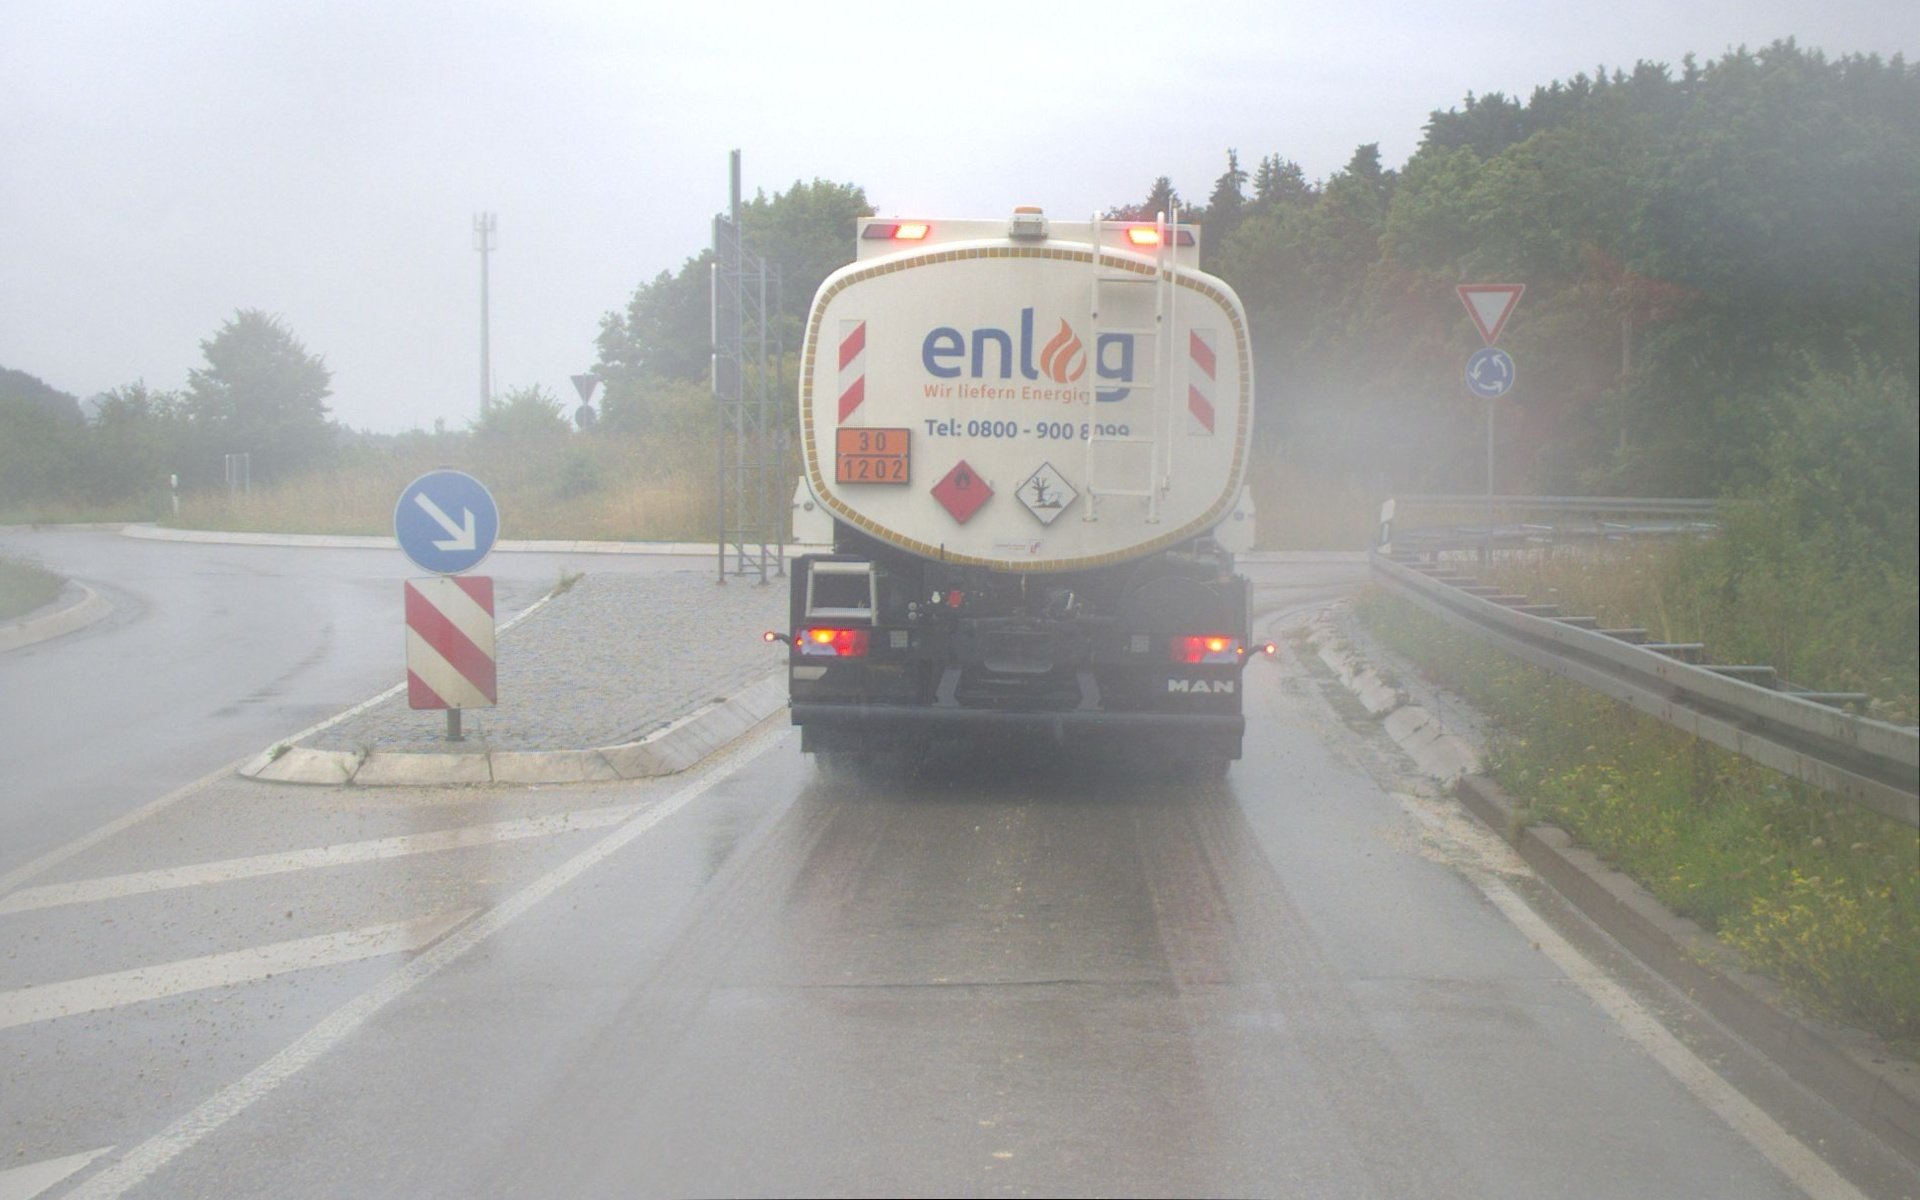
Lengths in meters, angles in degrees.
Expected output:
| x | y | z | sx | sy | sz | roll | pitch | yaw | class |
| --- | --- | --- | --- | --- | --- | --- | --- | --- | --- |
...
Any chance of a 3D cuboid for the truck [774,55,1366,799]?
| x | y | z | sx | sy | sz | roll | pitch | yaw | class |
| --- | --- | --- | --- | --- | --- | --- | --- | --- | --- |
| 0.706 | -1.052 | 22.230 | 3.039 | 3.838 | 8.823 | 0 | 2 | 2 | truck |
